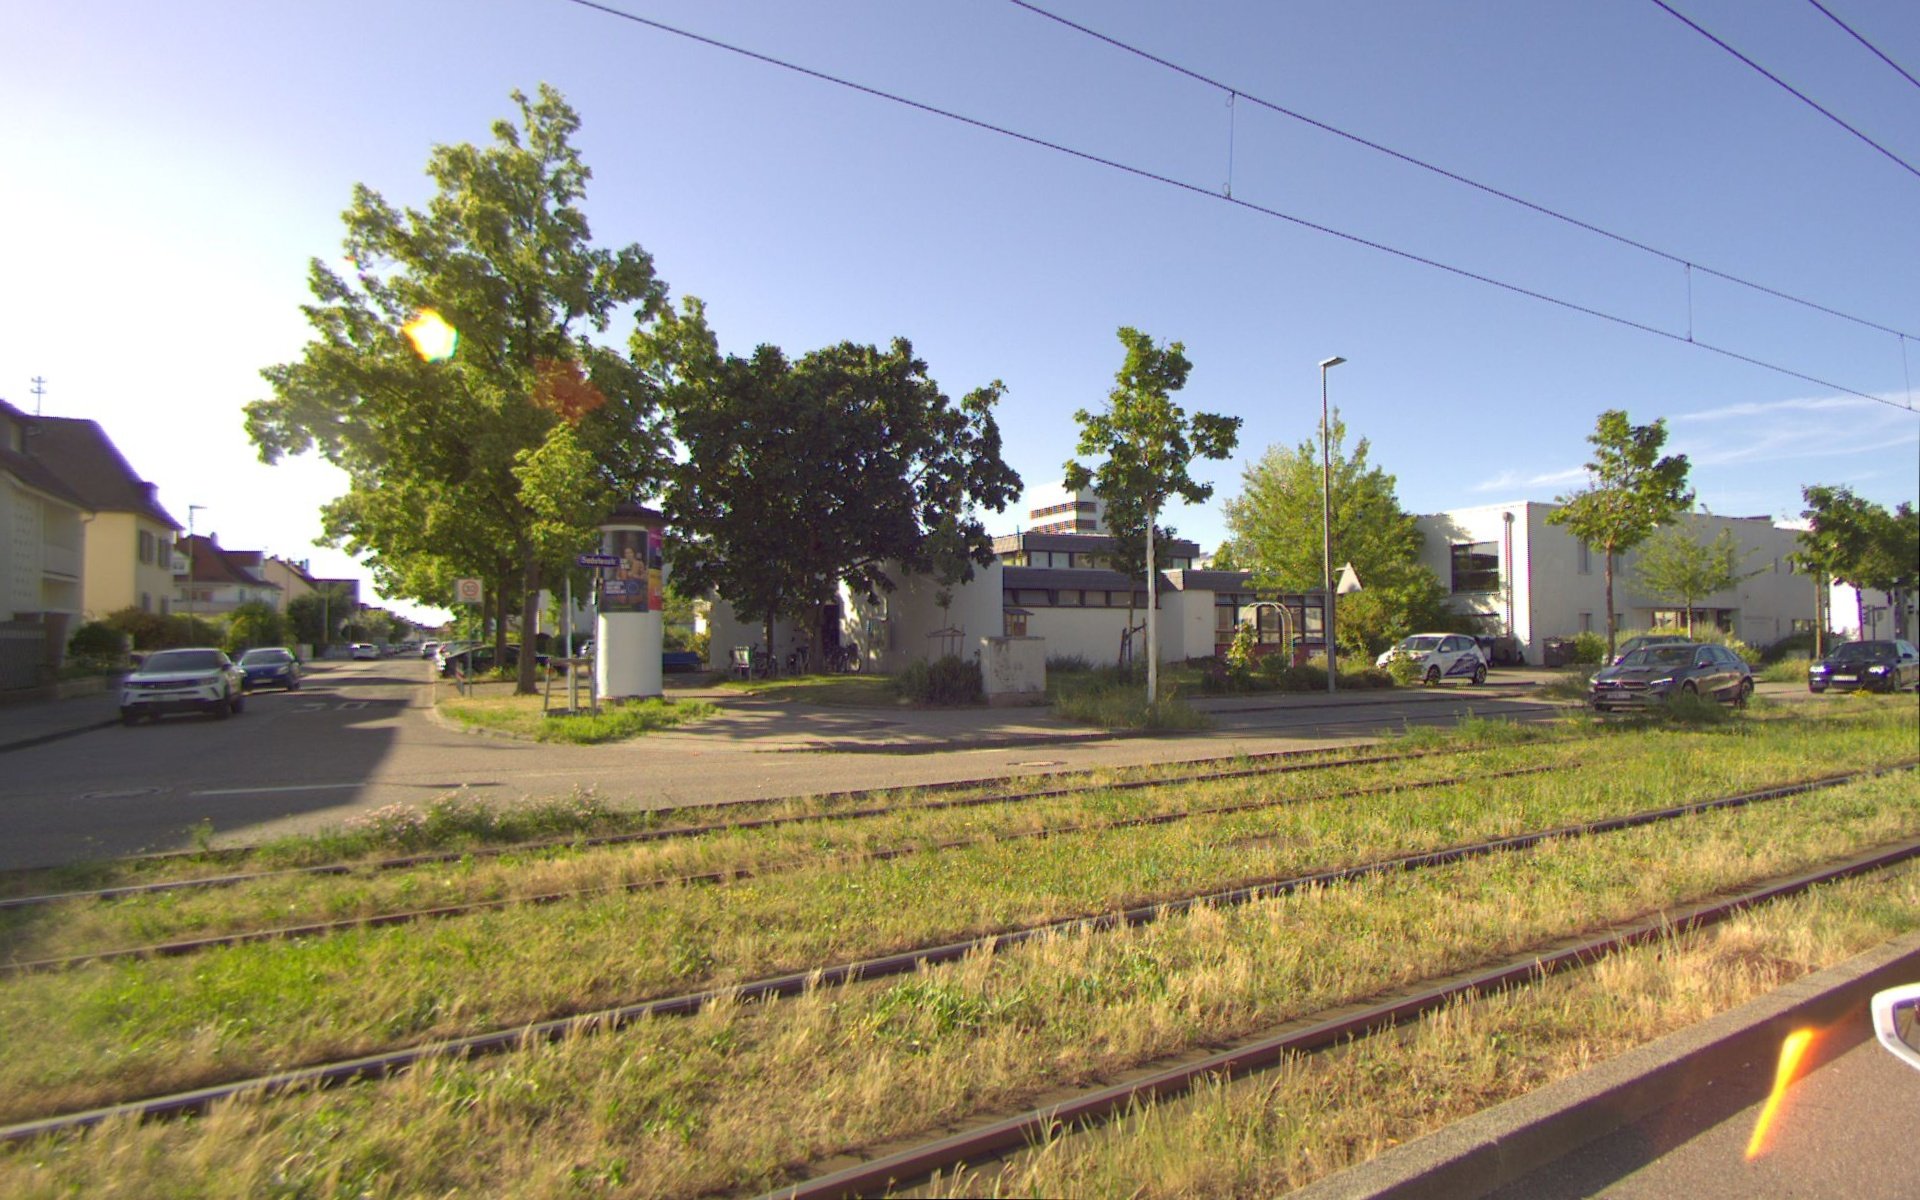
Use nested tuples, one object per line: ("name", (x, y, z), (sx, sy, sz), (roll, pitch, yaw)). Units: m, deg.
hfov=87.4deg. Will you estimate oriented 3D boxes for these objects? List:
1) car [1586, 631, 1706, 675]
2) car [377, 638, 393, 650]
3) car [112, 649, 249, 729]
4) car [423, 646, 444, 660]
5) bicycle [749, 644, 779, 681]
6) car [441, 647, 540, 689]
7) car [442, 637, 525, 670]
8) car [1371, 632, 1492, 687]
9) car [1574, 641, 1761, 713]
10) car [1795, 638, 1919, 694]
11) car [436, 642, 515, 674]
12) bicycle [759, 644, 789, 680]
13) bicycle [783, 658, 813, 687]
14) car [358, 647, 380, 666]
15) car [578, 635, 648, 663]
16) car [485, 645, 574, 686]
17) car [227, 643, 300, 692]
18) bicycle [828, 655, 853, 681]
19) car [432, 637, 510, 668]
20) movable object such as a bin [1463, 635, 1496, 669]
("car", (25.060, 1.907, 36.676), (4.261, 1.480, 1.804), (1, -1, -27))
("car", (-72.273, 5.538, 126.324), (1.415, 1.351, 3.257), (1, -1, -24))
("car", (-16.888, 1.858, 21.947), (1.817, 1.448, 3.843), (-1, -1, -30))
("car", (-54.029, 5.460, 103.125), (1.732, 1.351, 3.257), (1, -1, -24))
("bicycle", (-5.818, 1.850, 29.819), (1.041, 1.097, 0.303), (-3, -3, 42))
("car", (-17.968, 2.586, 38.558), (3.269, 1.429, 1.647), (0, -1, -20))
("car", (-26.502, 2.935, 55.976), (4.106, 1.697, 1.841), (0, -1, -25))
("car", (14.082, 1.730, 29.931), (3.734, 1.511, 1.536), (1, -1, -33))
("car", (15.235, 1.609, 21.577), (4.338, 1.406, 1.680), (1, -4, -32))
("car", (25.746, 1.852, 28.483), (4.863, 1.463, 1.753), (1, -4, -33))
("car", (-25.830, 3.073, 53.672), (3.777, 1.505, 1.719), (0, -1, -25))
("bicycle", (-5.578, 1.852, 30.103), (1.025, 1.073, 0.303), (-3, -3, 43))
("bicycle", (-4.946, 2.199, 30.659), (0.332, 0.835, 1.231), (2, -3, -40))
("car", (-57.438, 5.454, 97.645), (1.441, 1.687, 3.940), (1, -1, -24))
("car", (-21.559, 3.012, 62.435), (3.948, 1.639, 1.760), (0, -1, -27))
("car", (-18.032, 2.727, 42.191), (3.342, 1.551, 1.472), (0, -1, -20))
("car", (-23.774, 2.260, 34.386), (1.705, 1.481, 3.601), (1, -1, -30))
("bicycle", (-3.720, 2.106, 31.126), (0.299, 0.790, 1.052), (1, -3, -36))
("car", (-28.198, 3.026, 57.942), (3.954, 1.638, 1.615), (0, -1, -31))
("movable object such as a bin", (22.676, 2.271, 43.868), (1.237, 1.452, 0.663), (1, -1, -23))
